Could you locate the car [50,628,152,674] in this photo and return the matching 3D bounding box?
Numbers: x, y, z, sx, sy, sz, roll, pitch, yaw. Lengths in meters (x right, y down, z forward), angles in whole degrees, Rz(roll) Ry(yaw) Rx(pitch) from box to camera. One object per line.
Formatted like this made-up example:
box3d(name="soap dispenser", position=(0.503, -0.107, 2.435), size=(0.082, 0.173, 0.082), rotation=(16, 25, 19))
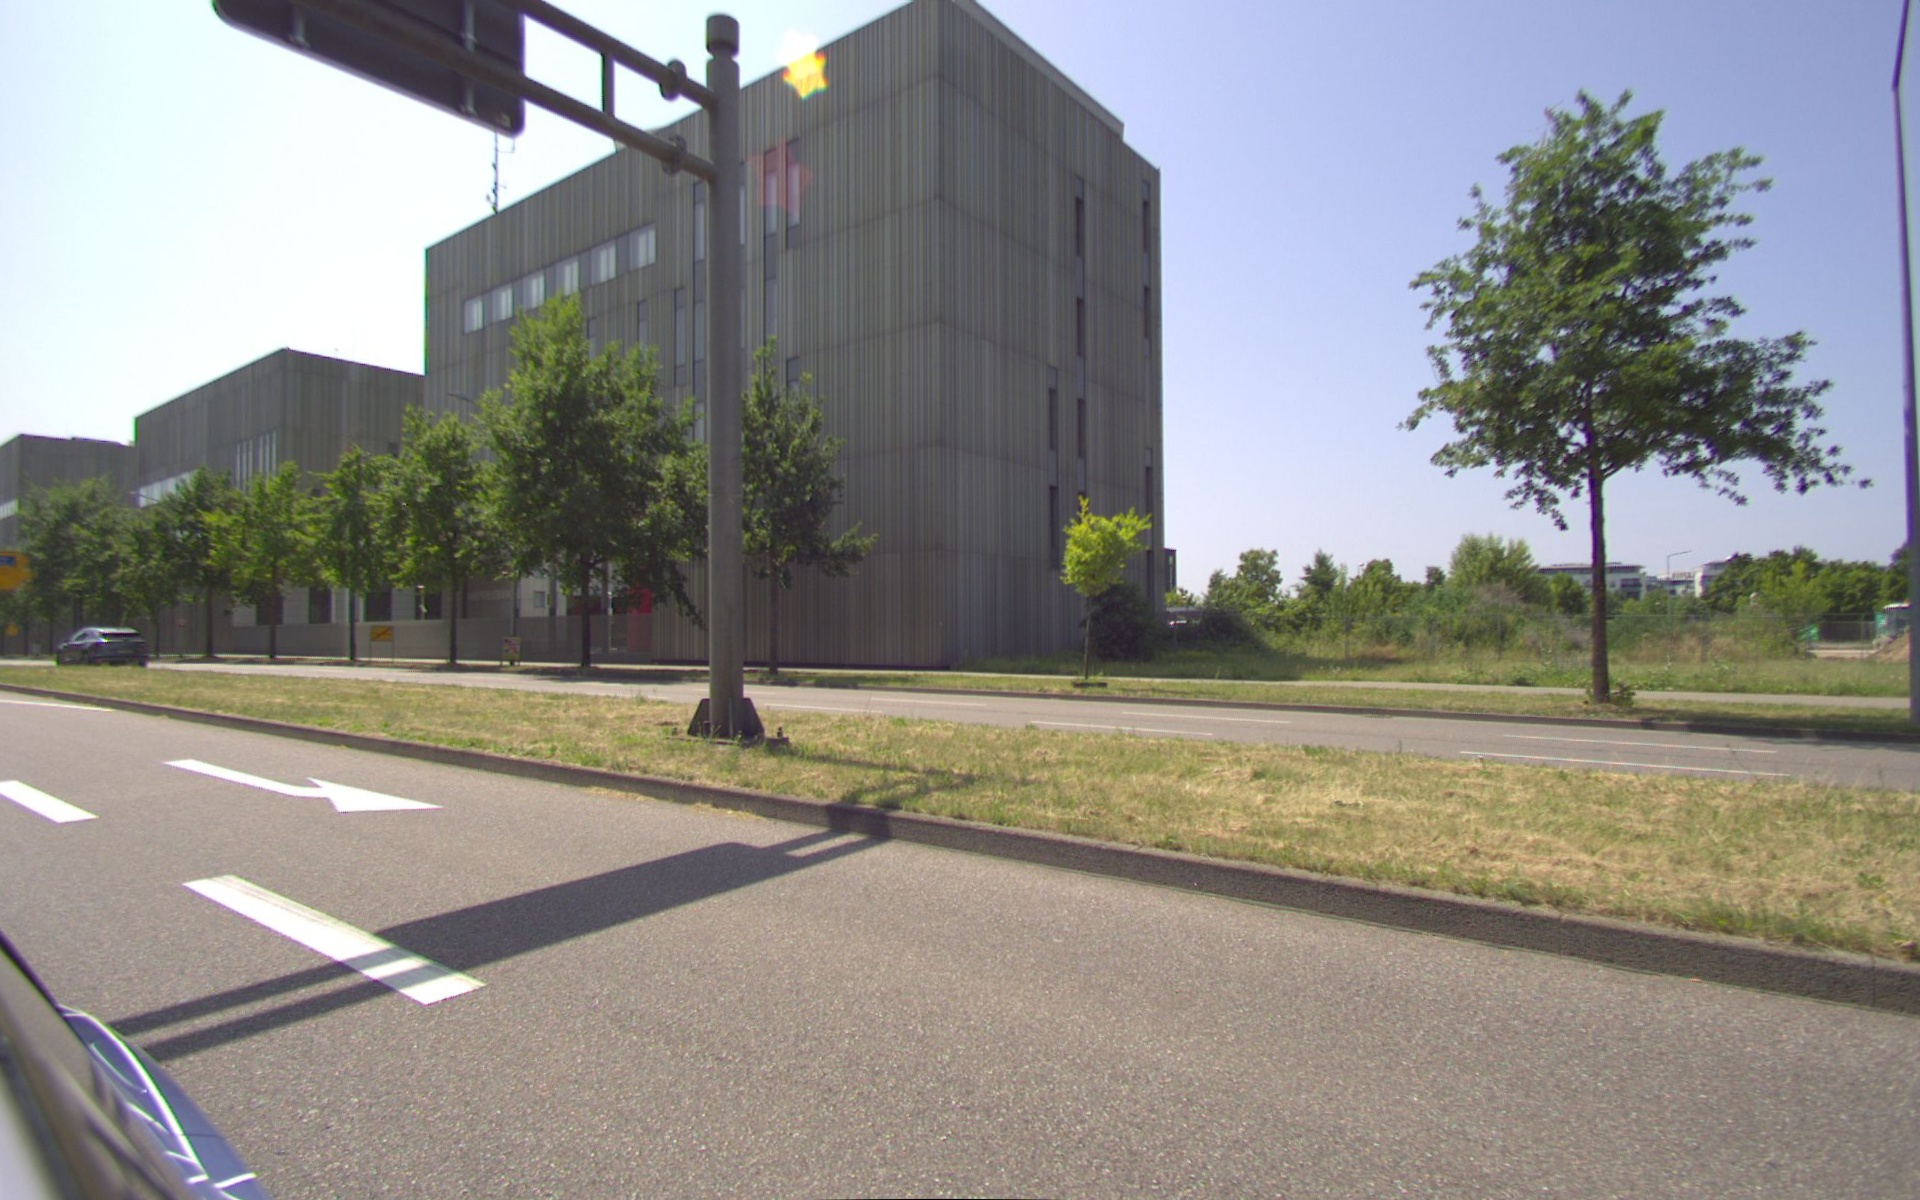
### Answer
box3d(name="car", position=(-32.282, 1.898, 38.006), size=(4.525, 1.623, 1.876), rotation=(-2, -2, 36))
